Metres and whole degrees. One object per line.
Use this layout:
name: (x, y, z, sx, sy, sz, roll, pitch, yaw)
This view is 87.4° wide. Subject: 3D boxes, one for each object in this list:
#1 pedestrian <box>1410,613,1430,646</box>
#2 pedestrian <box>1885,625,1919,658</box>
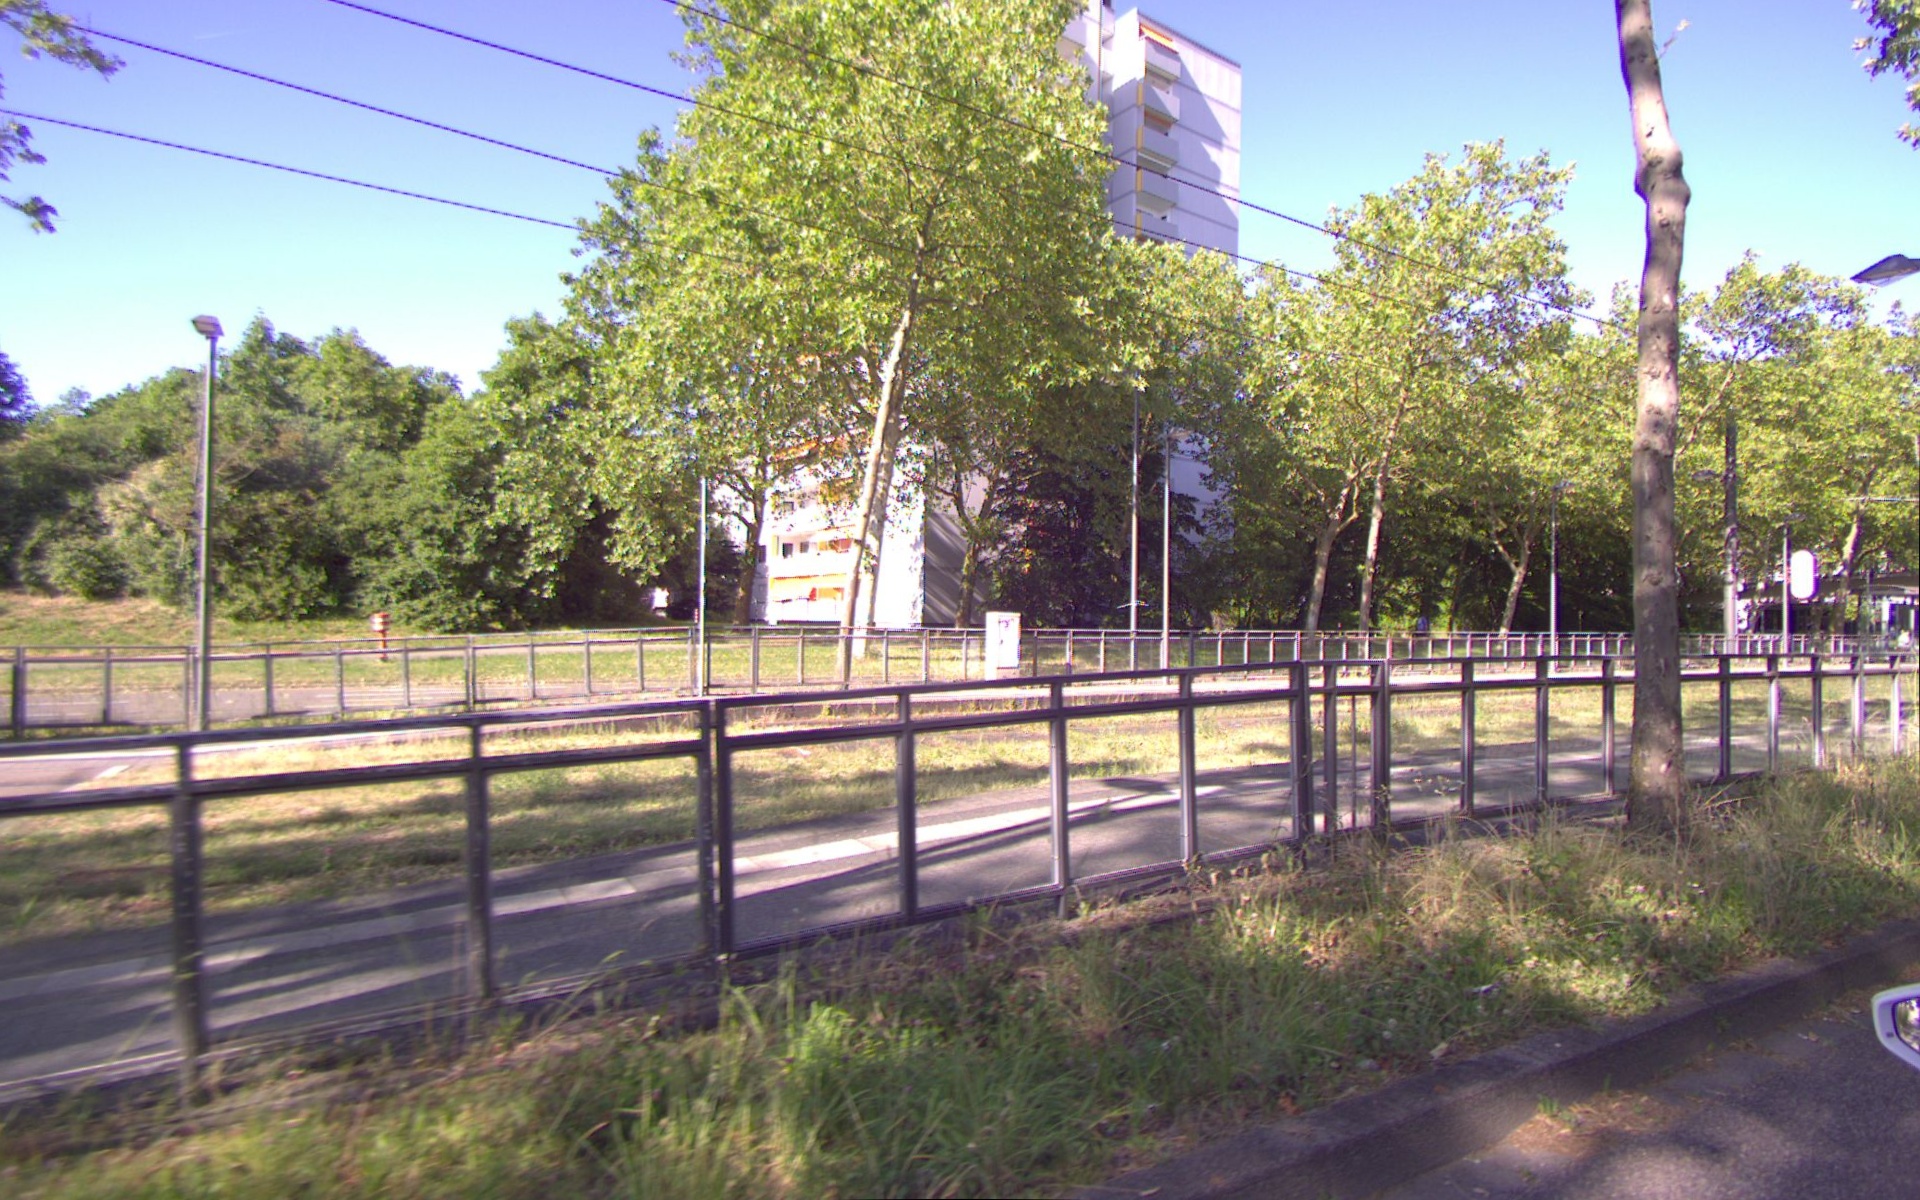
pedestrian: (23.308, 1.494, 50.868, 0.642, 1.683, 0.645, 1, 0, -29)
pedestrian: (34.460, 1.512, 36.713, 0.753, 1.199, 0.763, 1, 0, -29)
